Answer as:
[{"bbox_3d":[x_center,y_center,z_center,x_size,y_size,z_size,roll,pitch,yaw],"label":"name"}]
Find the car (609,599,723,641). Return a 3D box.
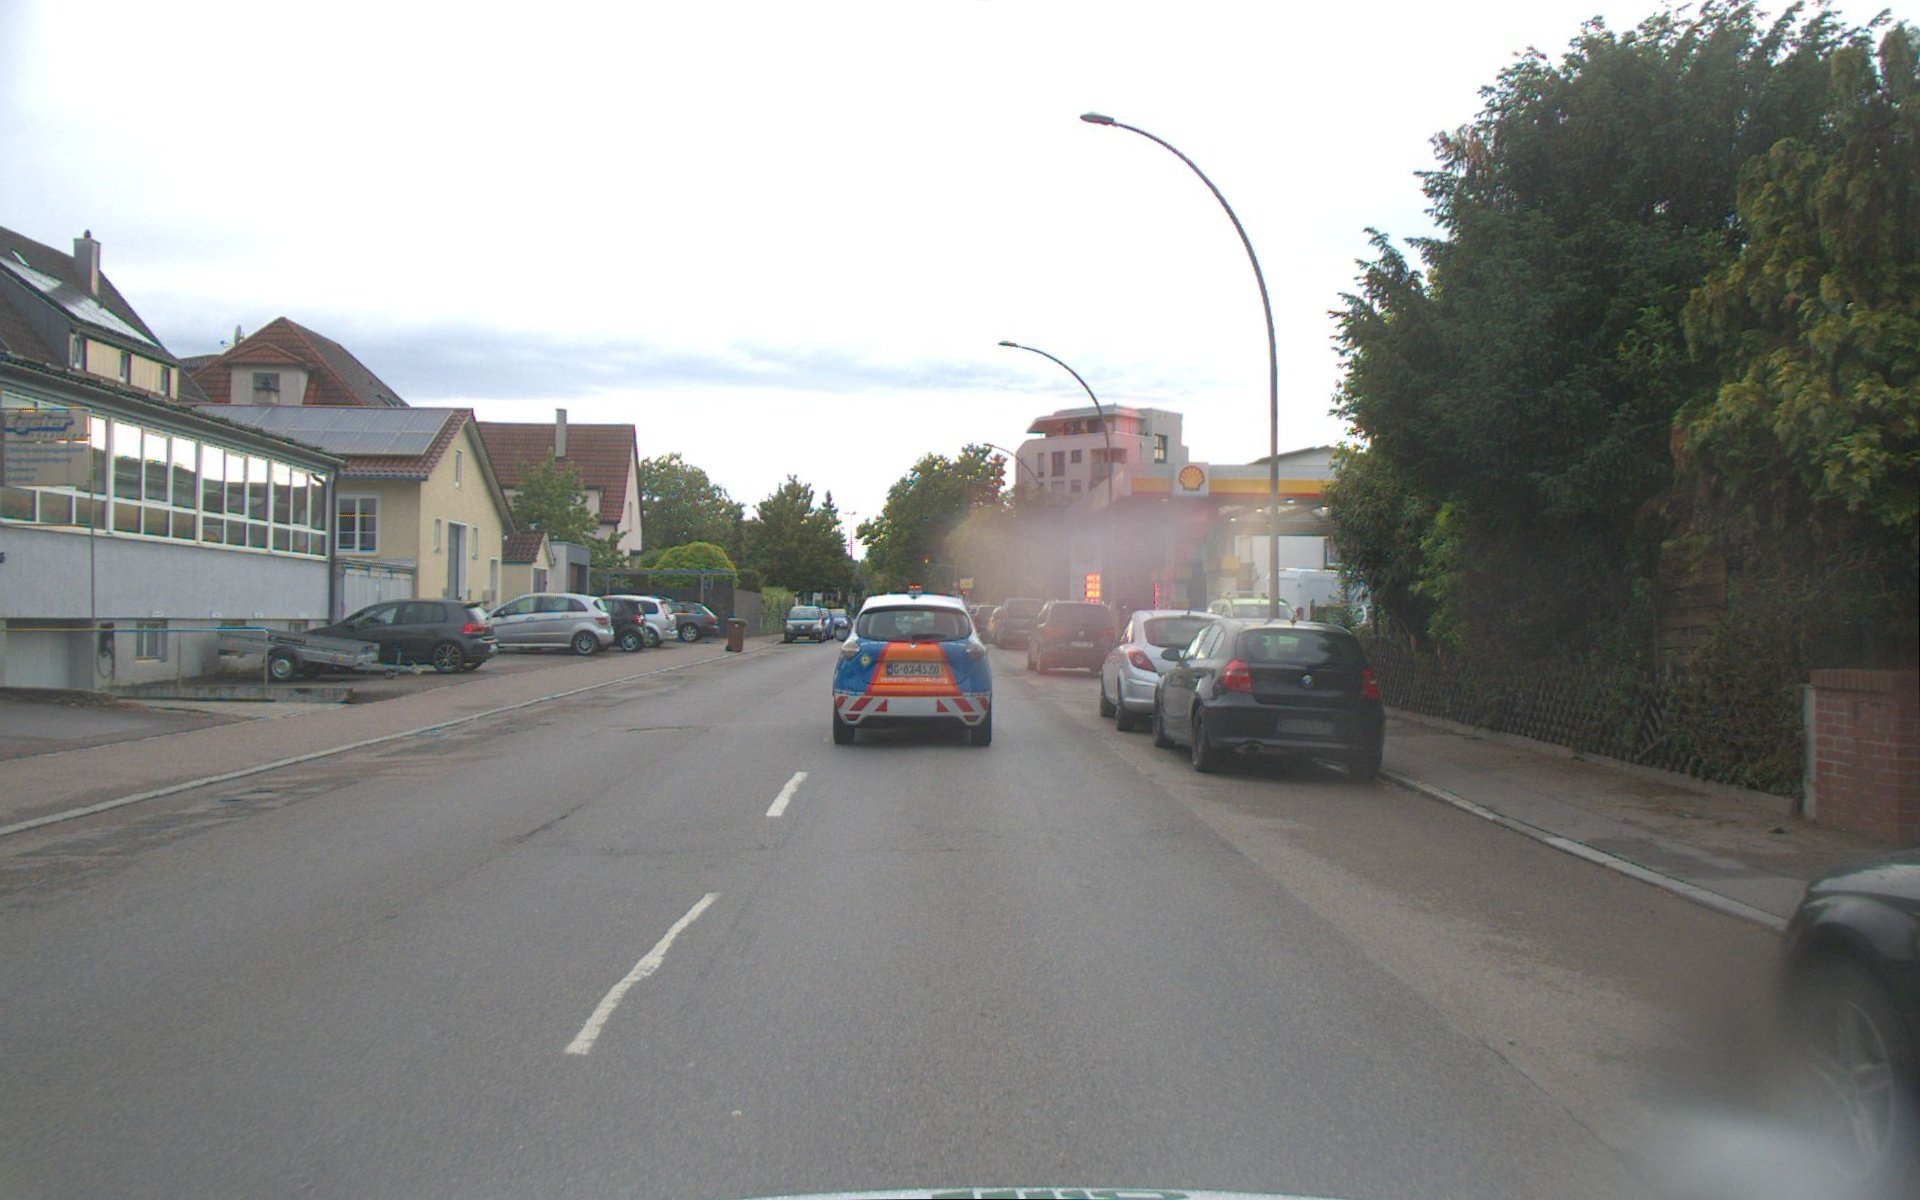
[{"bbox_3d":[-10.722,0.718,60.553,4.007,1.438,1.711,1,0,-8],"label":"car"}]

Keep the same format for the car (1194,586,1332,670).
[{"bbox_3d":[6.531,0.581,36.047,1.955,1.712,3.996,0,0,-5],"label":"car"}]

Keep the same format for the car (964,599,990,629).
[{"bbox_3d":[1.257,0.975,118.477,1.741,2.064,4.755,2,0,2],"label":"car"}]

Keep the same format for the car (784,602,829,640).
[{"bbox_3d":[-6.422,0.859,69.422,1.576,1.532,3.706,-1,0,-1],"label":"car"}]

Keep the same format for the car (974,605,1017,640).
[{"bbox_3d":[1.466,0.918,69.427,1.622,1.426,3.800,1,0,-1],"label":"car"}]

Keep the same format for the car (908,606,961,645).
[{"bbox_3d":[-1.134,1.128,75.277,1.951,1.601,4.002,2,0,5],"label":"car"}]

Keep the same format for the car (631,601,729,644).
[{"bbox_3d":[-10.704,0.860,63.445,3.516,1.482,1.754,2,-1,-6],"label":"car"}]

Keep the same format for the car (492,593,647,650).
[{"bbox_3d":[-10.963,0.602,46.622,4.004,1.559,1.812,0,0,-5],"label":"car"}]

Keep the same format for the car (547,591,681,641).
[{"bbox_3d":[-10.918,0.493,52.418,4.006,1.540,1.880,0,0,-7],"label":"car"}]

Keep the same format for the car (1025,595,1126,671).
[{"bbox_3d":[2.551,0.691,37.444,1.953,1.624,3.999,0,0,-1],"label":"car"}]

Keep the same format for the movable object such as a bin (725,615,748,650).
[{"bbox_3d":[-7.365,1.061,54.613,0.584,1.075,0.687,5,1,-1],"label":"movable object such as a bin"}]

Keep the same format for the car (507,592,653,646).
[{"bbox_3d":[-11.105,0.556,48.563,4.006,1.529,1.754,0,0,-7],"label":"car"}]

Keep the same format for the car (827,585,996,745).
[{"bbox_3d":[-0.520,0.645,18.675,1.710,1.609,3.999,0,0,-1],"label":"car"}]

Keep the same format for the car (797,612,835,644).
[{"bbox_3d":[-6.745,1.312,77.620,1.514,1.427,3.596,-1,0,-1],"label":"car"}]

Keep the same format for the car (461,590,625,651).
[{"bbox_3d":[-11.129,0.543,44.379,4.006,1.559,1.997,0,0,-7],"label":"car"}]

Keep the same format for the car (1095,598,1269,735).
[{"bbox_3d":[2.751,0.771,21.264,1.702,1.528,3.881,2,0,1],"label":"car"}]

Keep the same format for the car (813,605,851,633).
[{"bbox_3d":[-6.755,1.000,87.702,1.770,1.427,3.944,-1,0,-1],"label":"car"}]

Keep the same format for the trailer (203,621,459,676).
[{"bbox_3d":[-11.729,0.903,31.061,4.113,0.959,1.793,0,0,-4],"label":"trailer"}]

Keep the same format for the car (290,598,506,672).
[{"bbox_3d":[-11.357,0.686,33.602,3.796,1.463,1.767,0,0,-2],"label":"car"}]

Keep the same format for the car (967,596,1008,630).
[{"bbox_3d":[1.506,0.700,90.957,2.048,1.691,4.558,2,0,-1],"label":"car"}]

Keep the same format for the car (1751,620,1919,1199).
[{"bbox_3d":[3.135,0.785,2.655,1.716,1.443,4.109,0,0,-1],"label":"car"}]

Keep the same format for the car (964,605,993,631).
[{"bbox_3d":[1.259,1.246,112.468,1.828,1.694,4.319,1,-1,-1],"label":"car"}]

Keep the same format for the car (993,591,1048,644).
[{"bbox_3d":[2.134,0.624,59.422,1.623,1.768,4.443,3,0,-1],"label":"car"}]

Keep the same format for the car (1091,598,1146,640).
[{"bbox_3d":[6.848,0.804,71.966,1.783,1.790,3.997,0,0,-4],"label":"car"}]

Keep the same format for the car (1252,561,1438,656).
[{"bbox_3d":[10.877,0.239,46.745,4.723,2.565,2.232,0,0,-23],"label":"car"}]

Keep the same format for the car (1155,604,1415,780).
[{"bbox_3d":[3.022,0.803,16.111,1.702,1.427,3.717,2,0,-1],"label":"car"}]

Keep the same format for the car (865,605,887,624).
[{"bbox_3d":[-6.823,1.180,134.477,1.593,1.458,3.684,0,-1,1],"label":"car"}]
